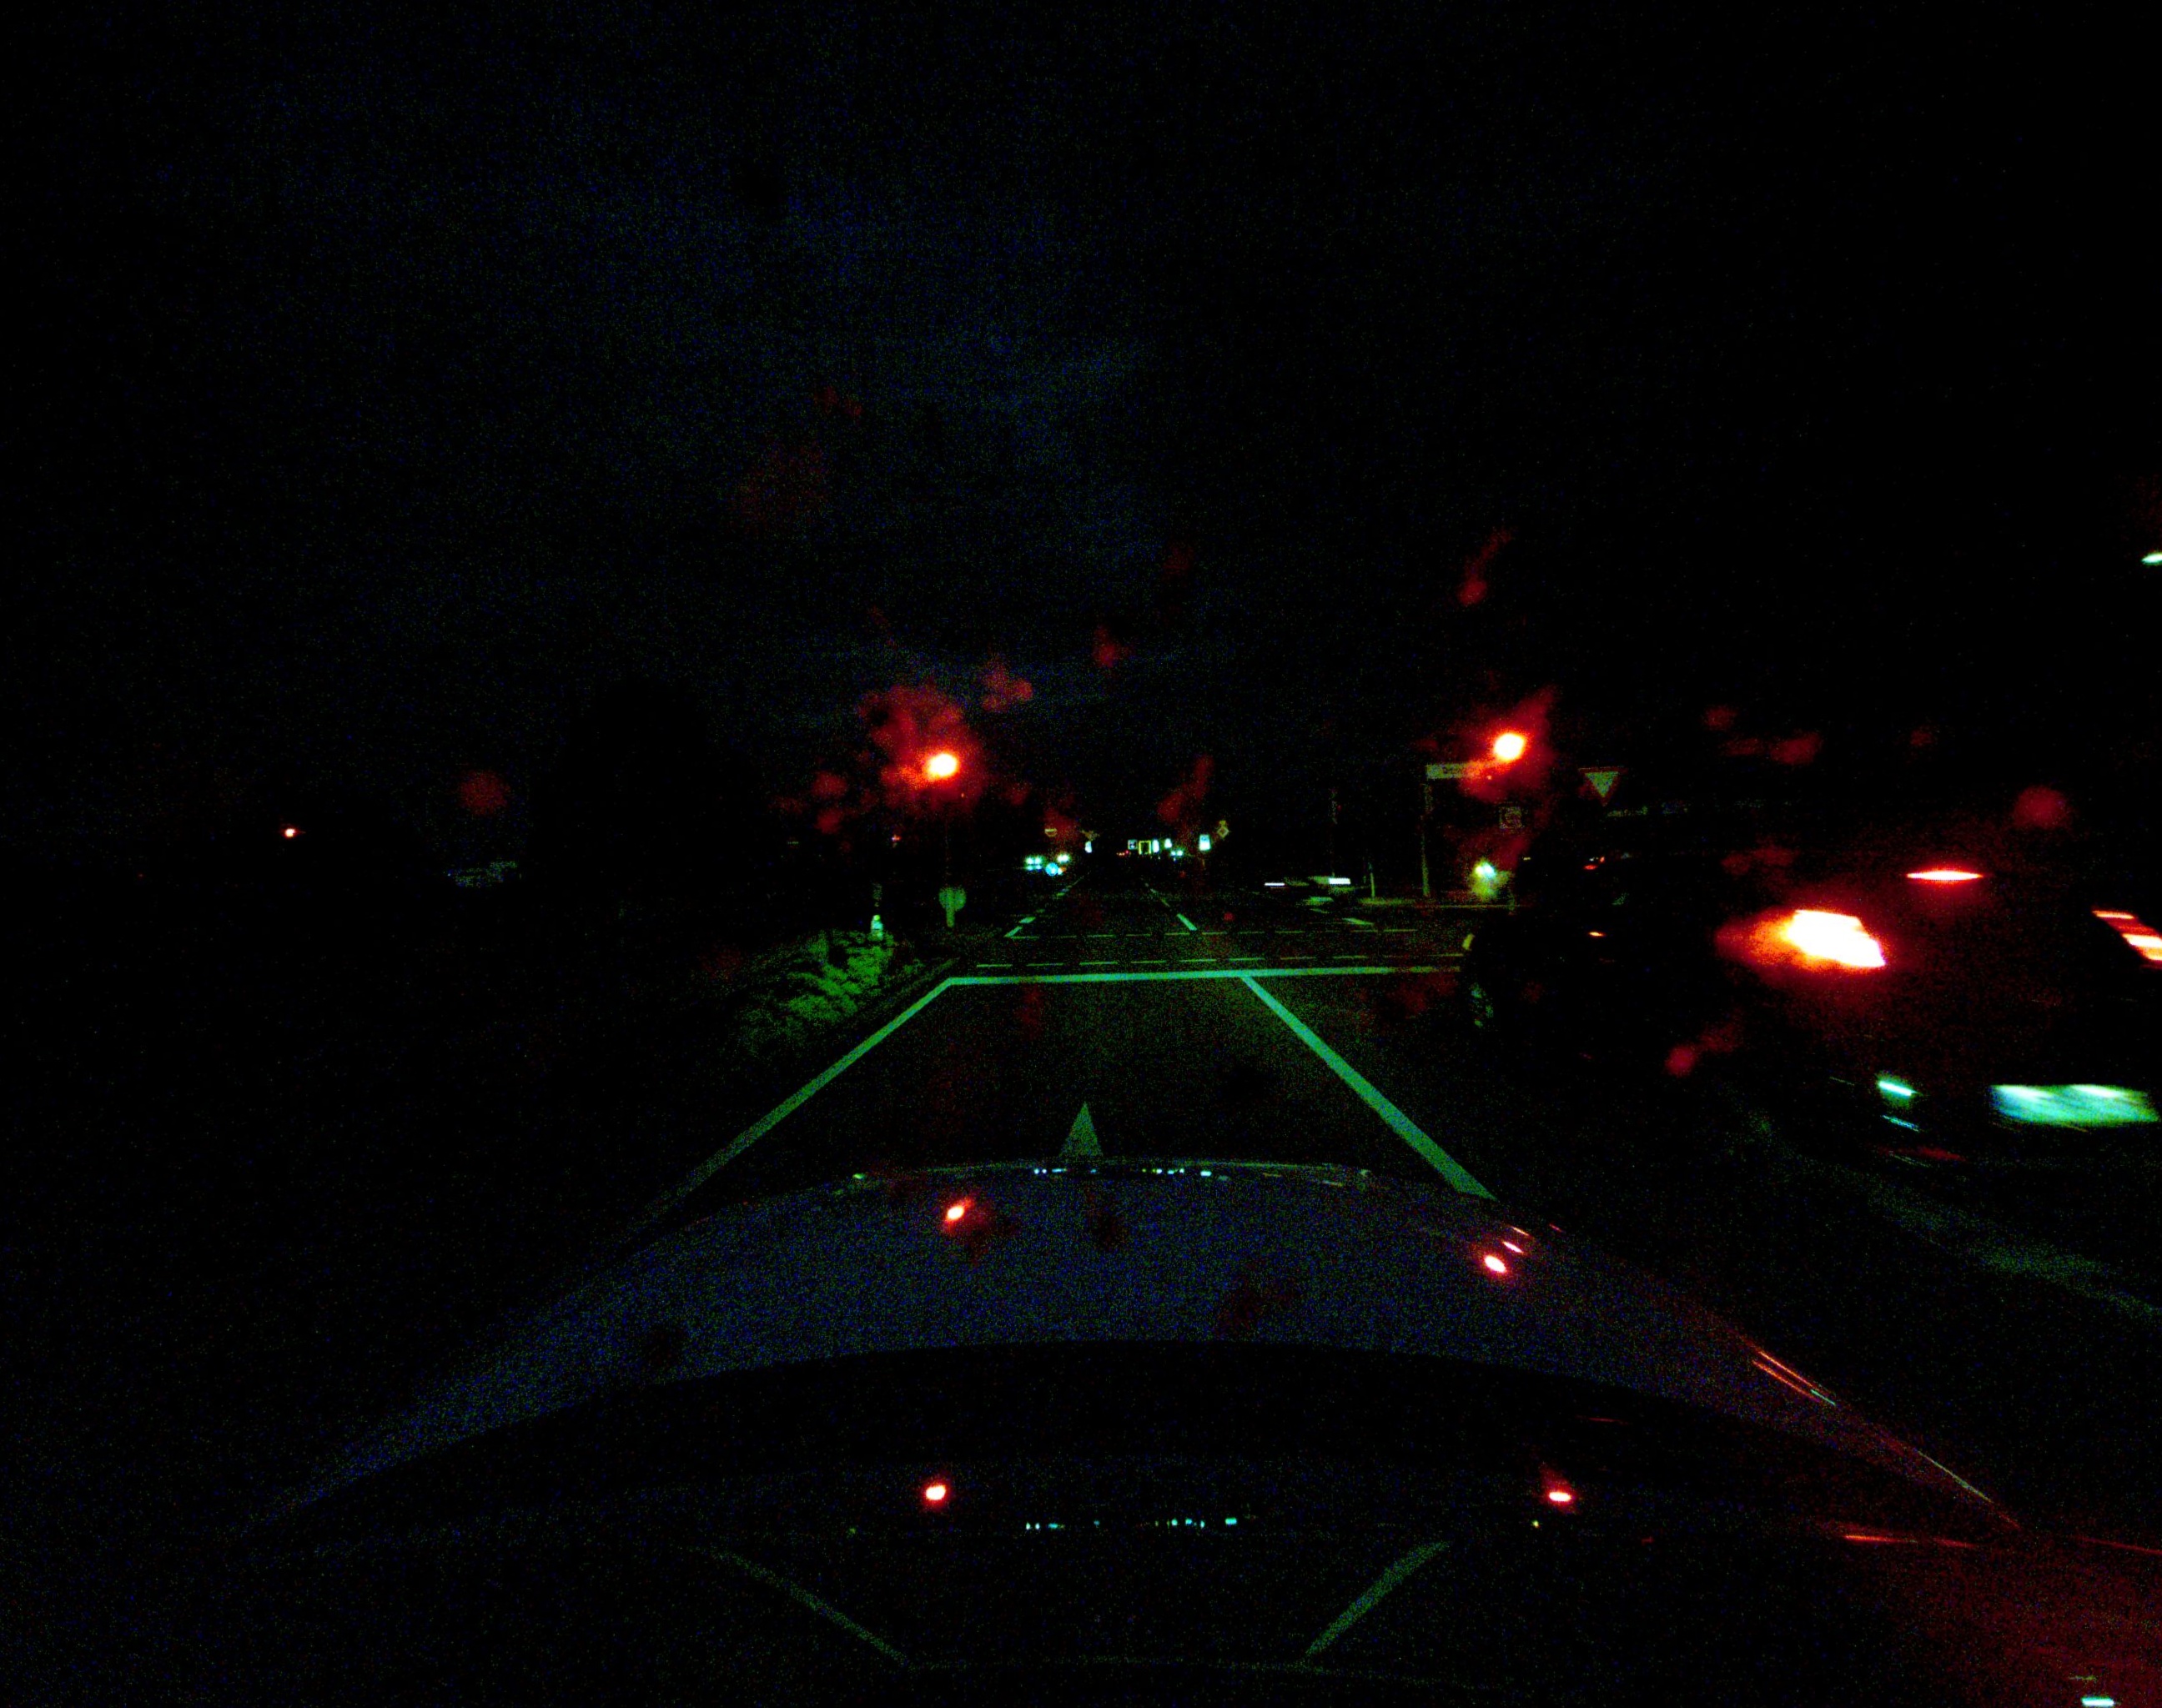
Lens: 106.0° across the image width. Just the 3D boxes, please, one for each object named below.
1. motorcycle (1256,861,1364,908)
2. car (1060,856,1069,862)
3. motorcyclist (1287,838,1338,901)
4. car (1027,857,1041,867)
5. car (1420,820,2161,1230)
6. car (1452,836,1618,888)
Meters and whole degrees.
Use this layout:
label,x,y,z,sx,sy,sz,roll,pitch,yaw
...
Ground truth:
label,x,y,z,sx,sy,sz,roll,pitch,yaw
motorcycle,5.924,0.795,21.136,2.476,1.098,0.988,-3,0,30
car,-4.292,1.380,212.282,1.986,1.387,4.002,-2,0,2
motorcyclist,6.067,0.395,21.299,0.960,1.584,1.148,-3,0,30
car,-7.704,1.292,133.965,1.986,1.519,4.299,-2,0,2
car,3.716,0.641,5.094,1.663,1.520,4.109,-1,0,3
car,15.646,0.272,28.277,4.583,1.520,2.001,-3,0,2
